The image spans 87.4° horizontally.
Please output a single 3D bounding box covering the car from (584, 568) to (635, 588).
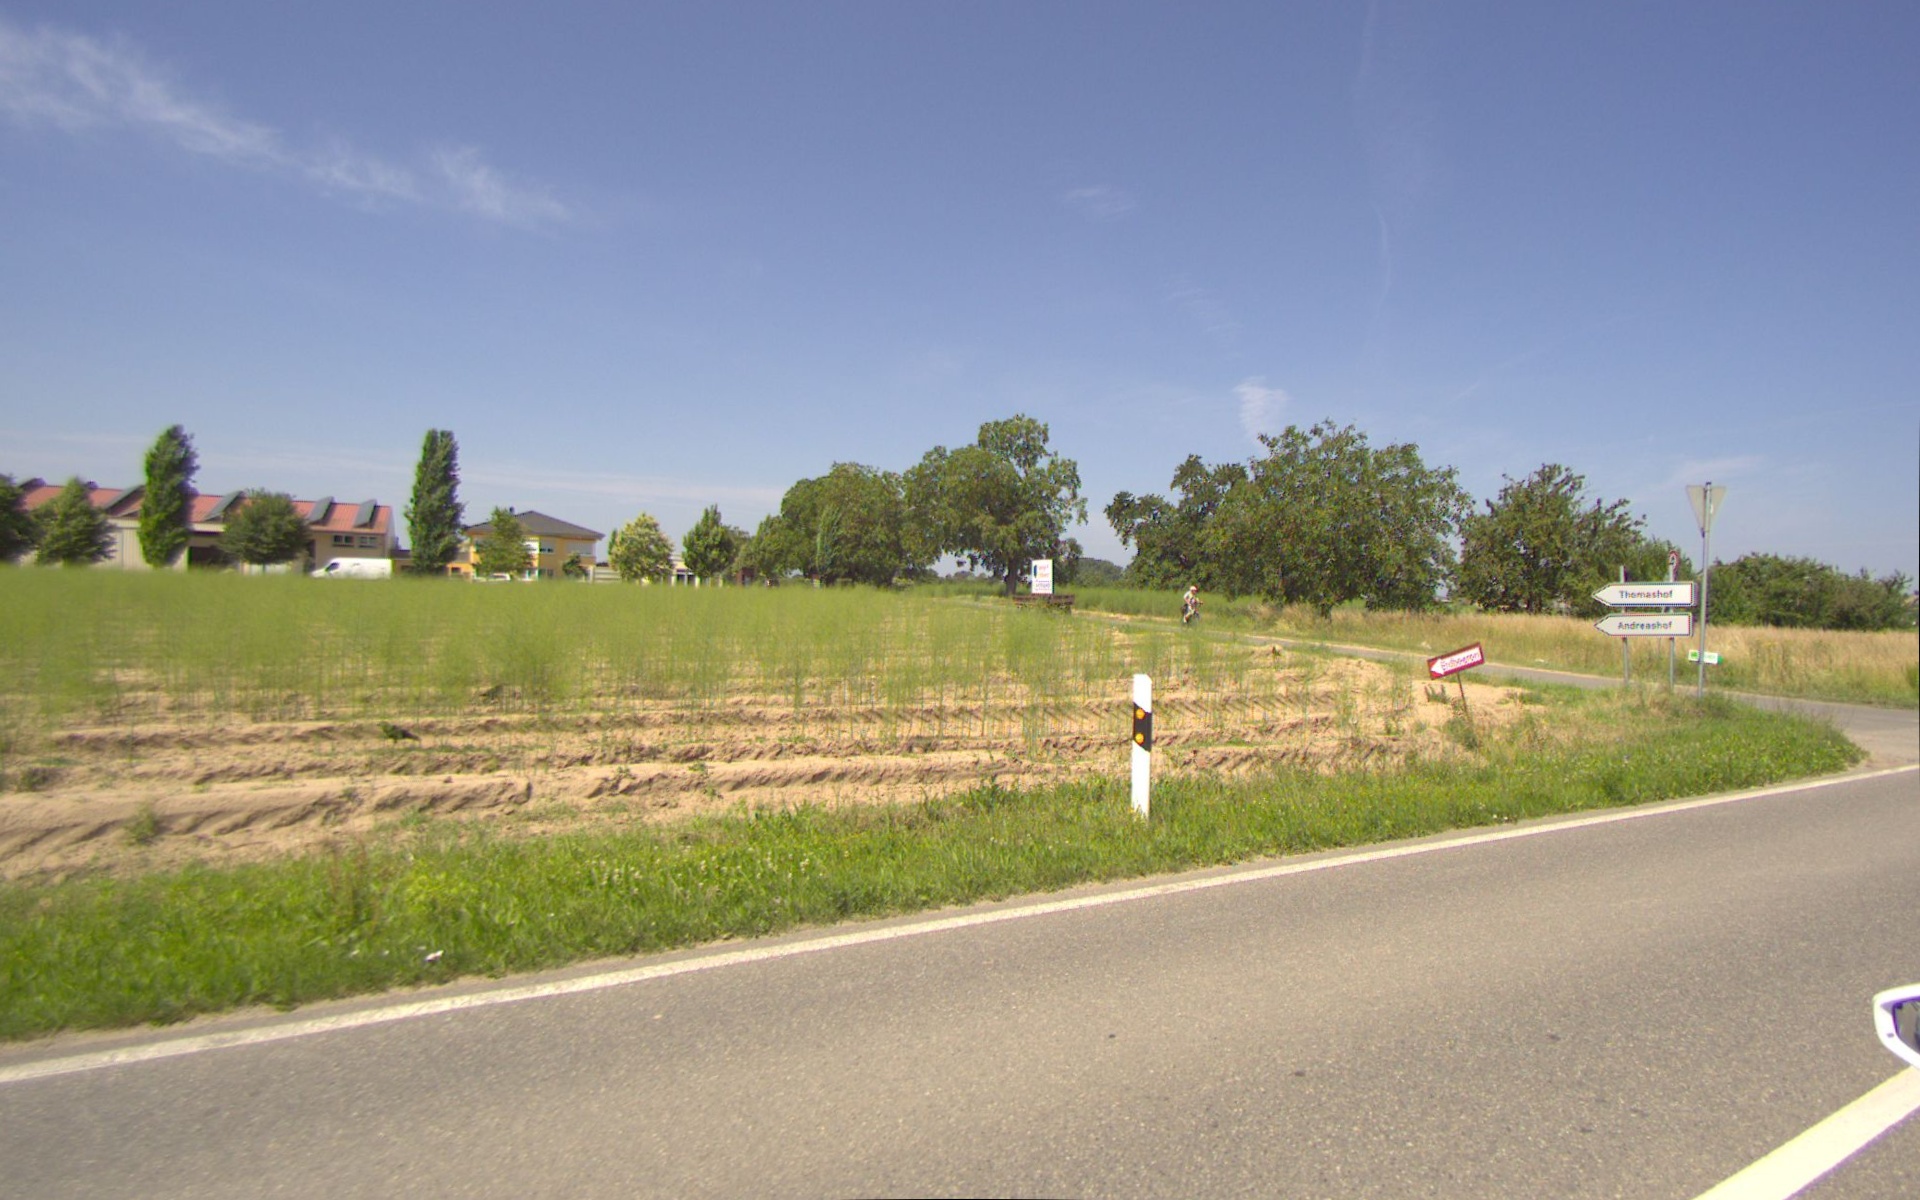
[{"bbox_3d":[-31.108,-1.964,89.132,3.956,1.559,1.855,2,1,-32],"label":"car"}]

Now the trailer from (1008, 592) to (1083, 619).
[{"bbox_3d":[3.890,0.254,46.294,1.969,1.154,3.982,2,0,-19],"label":"trailer"}]

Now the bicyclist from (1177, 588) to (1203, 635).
[{"bbox_3d":[8.902,0.449,38.916,0.652,1.781,0.698,2,1,-20],"label":"bicyclist"}]

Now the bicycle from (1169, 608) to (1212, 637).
[{"bbox_3d":[8.902,0.852,38.881,0.672,1.005,1.916,2,1,-20],"label":"bicycle"}]

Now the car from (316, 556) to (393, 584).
[{"bbox_3d":[-51.588,-2.547,85.711,5.432,2.089,1.859,2,1,-27],"label":"car"}]
